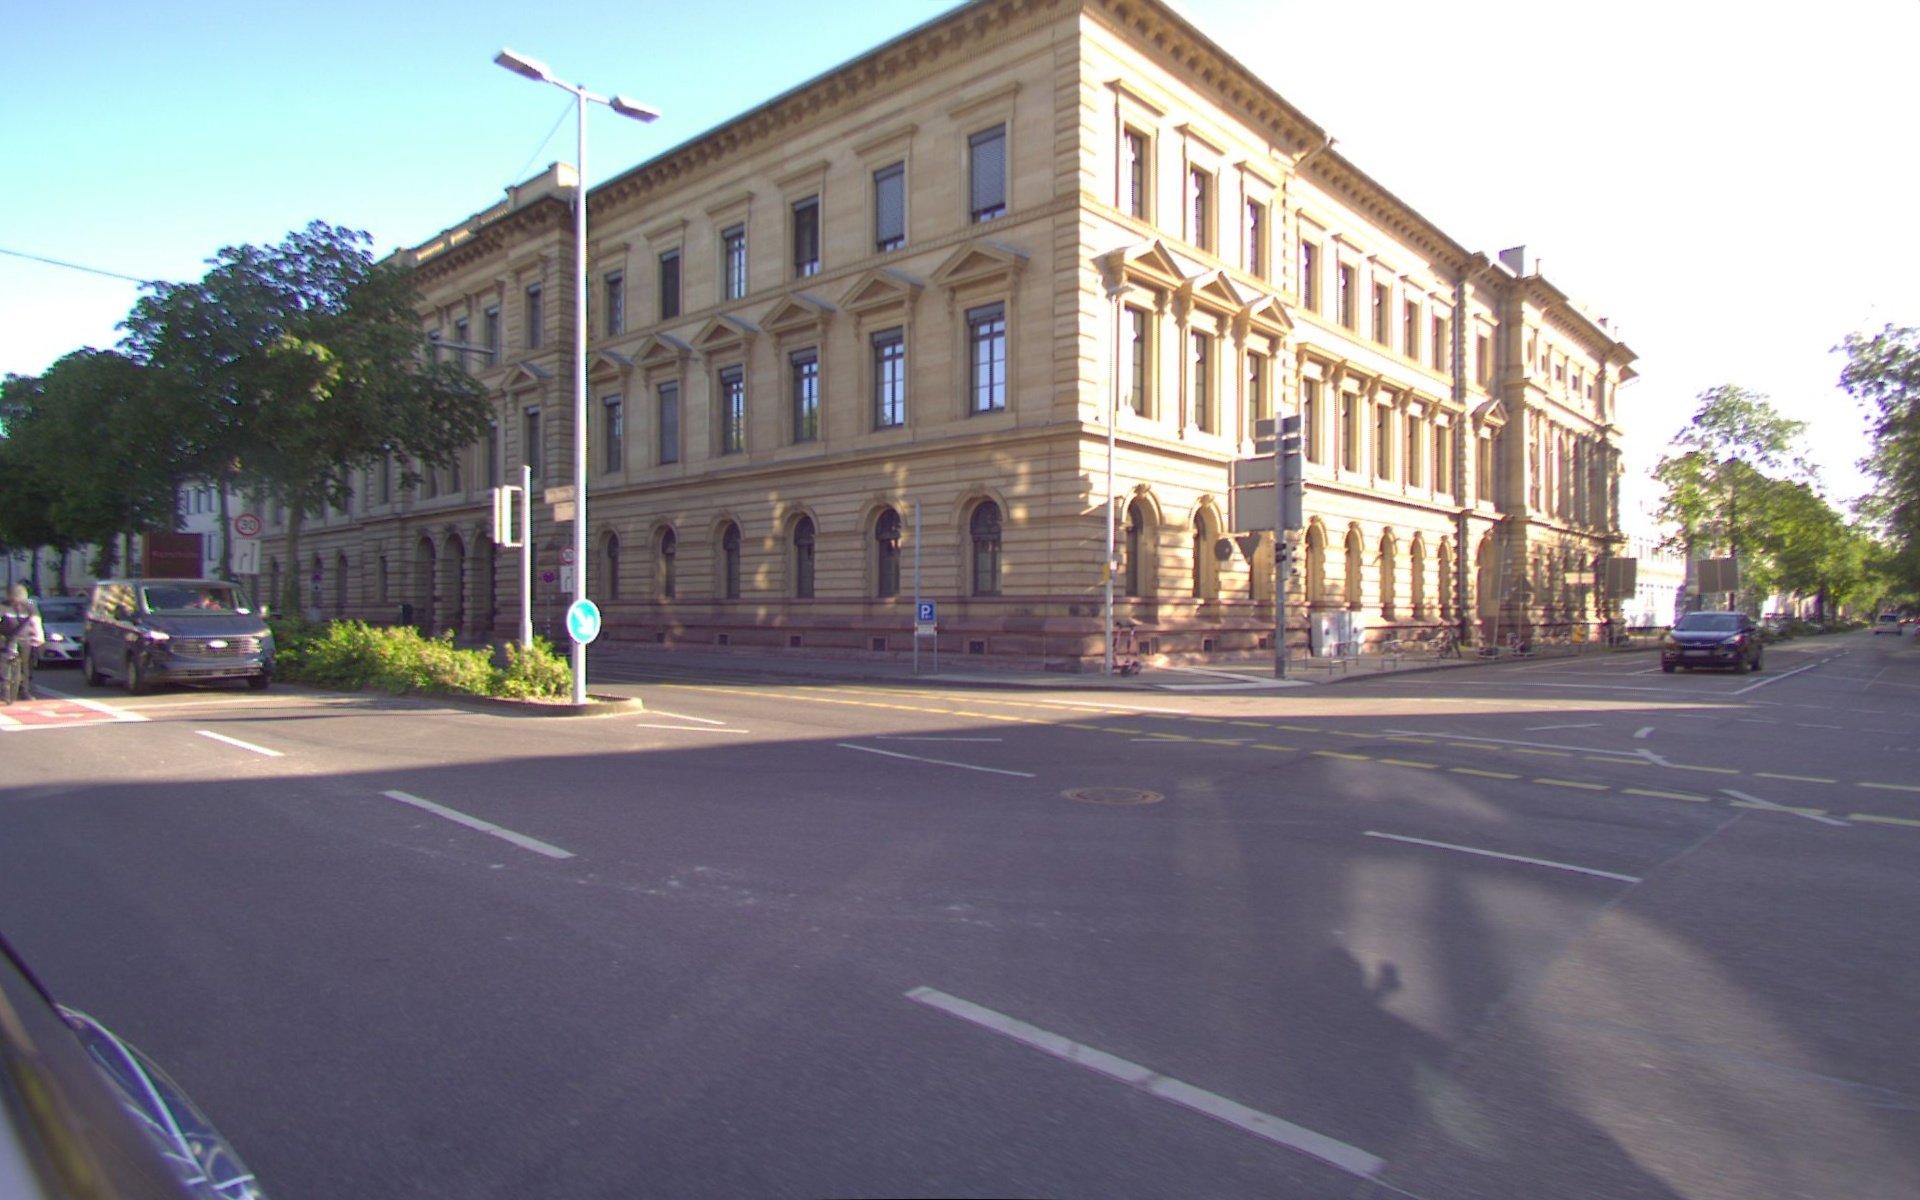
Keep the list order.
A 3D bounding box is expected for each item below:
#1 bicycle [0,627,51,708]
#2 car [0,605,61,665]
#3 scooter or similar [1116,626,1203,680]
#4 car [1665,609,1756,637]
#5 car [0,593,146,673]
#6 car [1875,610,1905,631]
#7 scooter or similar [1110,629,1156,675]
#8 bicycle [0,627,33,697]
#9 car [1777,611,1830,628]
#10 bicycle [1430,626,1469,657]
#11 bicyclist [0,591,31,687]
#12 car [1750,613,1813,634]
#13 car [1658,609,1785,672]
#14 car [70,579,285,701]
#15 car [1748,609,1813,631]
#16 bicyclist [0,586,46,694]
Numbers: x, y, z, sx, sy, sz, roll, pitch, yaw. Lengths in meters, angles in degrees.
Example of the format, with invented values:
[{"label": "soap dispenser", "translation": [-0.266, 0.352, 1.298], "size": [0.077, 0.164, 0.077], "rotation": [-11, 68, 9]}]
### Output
[{"label": "bicycle", "translation": [-14.534, 1.003, 15.570], "size": [2.077, 1.164, 0.635], "rotation": [-1, -1, 43]}, {"label": "car", "translation": [-28.377, 0.991, 29.840], "size": [4.730, 1.670, 1.974], "rotation": [-1, -1, 38]}, {"label": "scooter or similar", "translation": [4.549, 1.186, 23.082], "size": [1.998, 1.197, 0.457], "rotation": [0, -2, -20]}, {"label": "car", "translation": [45.220, 1.395, 61.051], "size": [4.258, 1.550, 1.803], "rotation": [-1, -4, 43]}, {"label": "car", "translation": [-21.768, 0.777, 24.654], "size": [4.740, 1.763, 1.972], "rotation": [-1, -2, 38]}, {"label": "car", "translation": [79.717, 1.729, 86.734], "size": [1.755, 1.740, 3.790], "rotation": [-1, -1, 44]}, {"label": "scooter or similar", "translation": [4.061, 1.205, 23.761], "size": [0.393, 1.060, 1.312], "rotation": [-1, -2, 44]}, {"label": "bicycle", "translation": [-16.605, 1.048, 17.410], "size": [1.970, 1.152, 0.819], "rotation": [-1, -1, 43]}, {"label": "car", "translation": [84.696, 1.946, 101.673], "size": [3.999, 1.708, 1.712], "rotation": [-1, -1, 42]}, {"label": "bicycle", "translation": [16.088, 1.346, 33.252], "size": [1.803, 0.974, 0.575], "rotation": [1, -1, -44]}, {"label": "bicyclist", "translation": [-16.570, 0.662, 17.405], "size": [0.825, 1.620, 0.794], "rotation": [-1, -2, 43]}, {"label": "car", "translation": [69.278, 1.964, 85.377], "size": [3.999, 1.708, 1.712], "rotation": [-1, -1, 42]}, {"label": "car", "translation": [20.921, 1.077, 27.743], "size": [4.617, 1.584, 2.002], "rotation": [1, -2, -43]}, {"label": "car", "translation": [-14.308, 0.659, 18.396], "size": [5.029, 1.930, 2.047], "rotation": [0, -1, 40]}, {"label": "car", "translation": [65.472, 1.580, 80.795], "size": [3.999, 1.627, 1.713], "rotation": [-1, -4, 42]}, {"label": "bicyclist", "translation": [-14.563, 0.603, 15.558], "size": [0.825, 1.620, 0.663], "rotation": [-1, -2, 43]}]
